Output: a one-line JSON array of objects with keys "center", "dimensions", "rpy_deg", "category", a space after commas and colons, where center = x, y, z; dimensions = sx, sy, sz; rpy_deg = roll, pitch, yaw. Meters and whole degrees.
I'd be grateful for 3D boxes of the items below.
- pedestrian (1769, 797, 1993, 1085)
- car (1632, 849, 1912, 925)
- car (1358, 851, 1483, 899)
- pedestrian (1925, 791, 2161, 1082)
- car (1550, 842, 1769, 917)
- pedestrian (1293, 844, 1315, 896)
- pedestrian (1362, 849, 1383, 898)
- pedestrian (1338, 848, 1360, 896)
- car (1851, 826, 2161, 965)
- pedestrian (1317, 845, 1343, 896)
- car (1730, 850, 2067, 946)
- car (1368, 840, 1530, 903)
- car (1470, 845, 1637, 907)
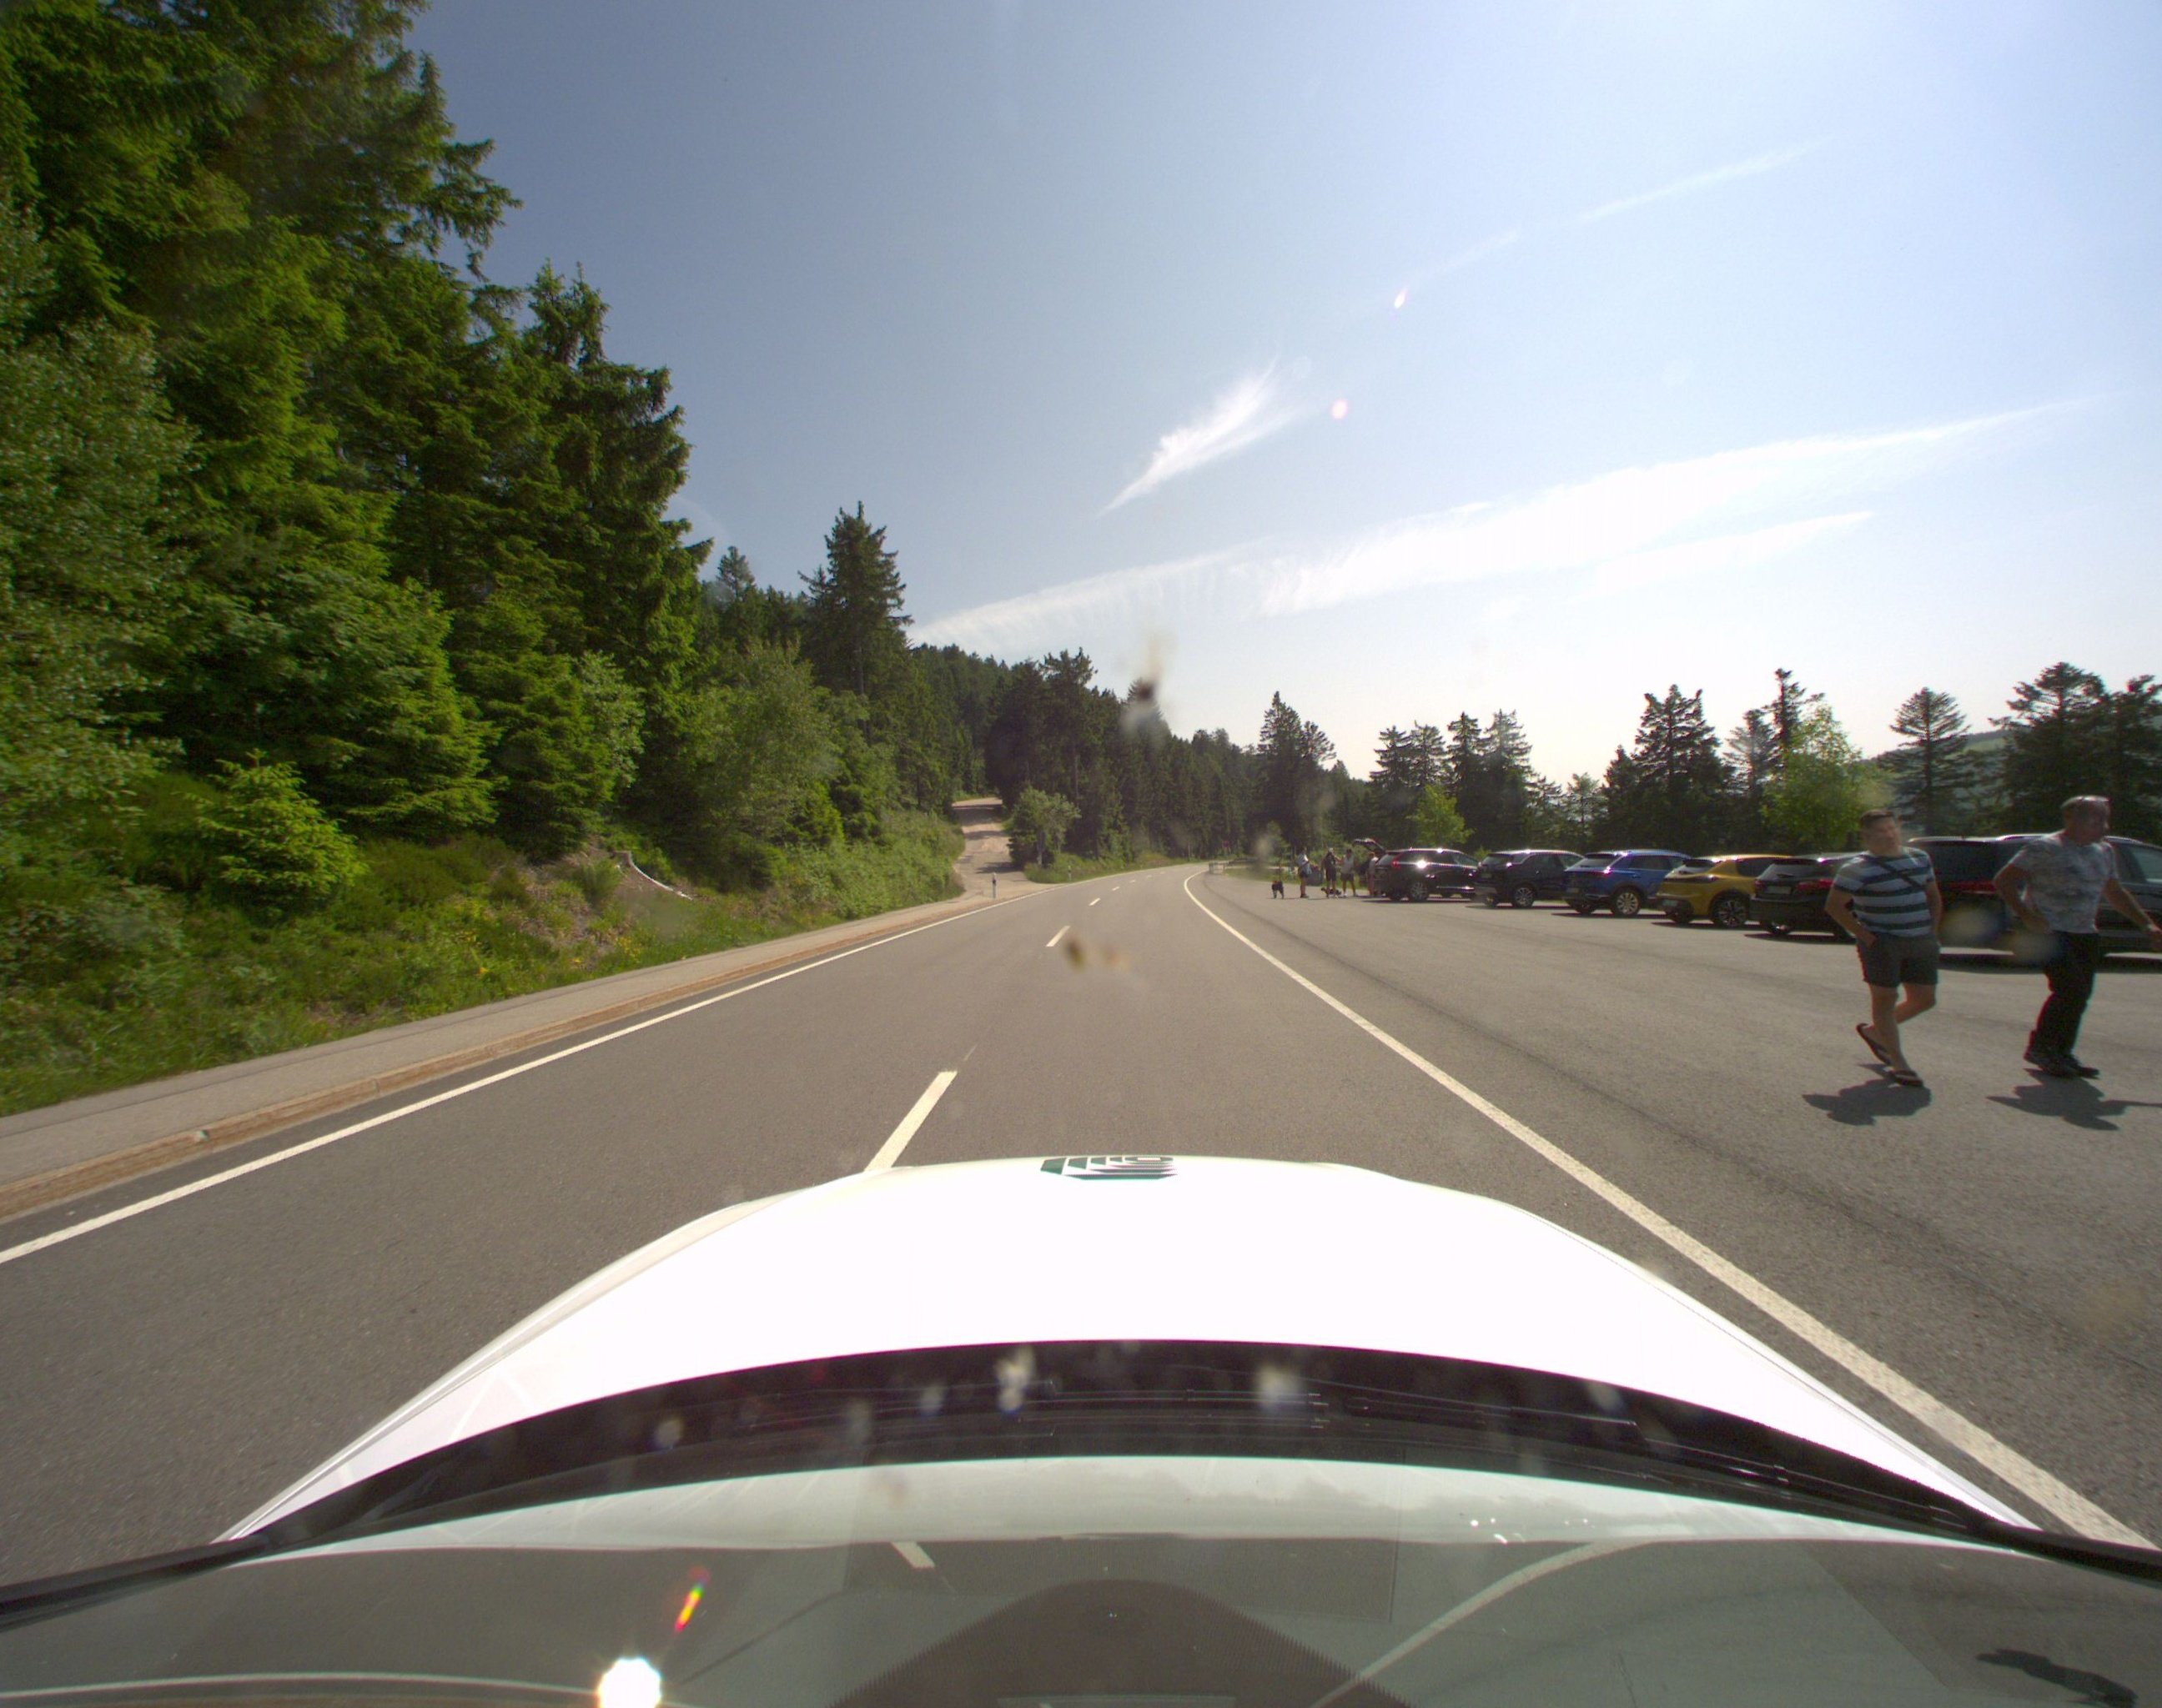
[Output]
[{"center": [5.289, 0.537, 5.451], "dimensions": [0.748, 1.760, 0.778], "rpy_deg": [-2, 0, 15], "category": "pedestrian"}, {"center": [13.756, 0.624, 16.413], "dimensions": [3.974, 1.352, 1.987], "rpy_deg": [-1, 0, 0], "category": "car"}, {"center": [12.056, 0.729, 29.018], "dimensions": [3.808, 1.661, 1.651], "rpy_deg": [0, 0, -4], "category": "car"}, {"center": [6.317, 0.495, 5.356], "dimensions": [0.660, 1.741, 0.898], "rpy_deg": [-2, 0, 15], "category": "pedestrian"}, {"center": [13.599, 0.557, 19.303], "dimensions": [3.977, 1.535, 1.806], "rpy_deg": [-1, 3, -3], "category": "car"}, {"center": [7.655, 0.548, 27.970], "dimensions": [0.613, 1.775, 0.725], "rpy_deg": [-1, 0, 8], "category": "pedestrian"}, {"center": [9.989, 0.661, 27.870], "dimensions": [0.611, 1.587, 0.739], "rpy_deg": [-2, 1, 21], "category": "pedestrian"}, {"center": [9.630, 0.633, 29.283], "dimensions": [0.648, 1.660, 0.690], "rpy_deg": [-2, 1, 14], "category": "pedestrian"}, {"center": [12.726, 0.518, 10.641], "dimensions": [3.977, 1.647, 1.599], "rpy_deg": [1, 0, -3], "category": "car"}, {"center": [8.458, 0.558, 27.681], "dimensions": [0.712, 1.692, 0.620], "rpy_deg": [-1, 0, 8], "category": "pedestrian"}, {"center": [13.656, 0.699, 13.783], "dimensions": [3.984, 1.436, 1.763], "rpy_deg": [1, 0, -1], "category": "car"}, {"center": [11.505, 0.515, 25.647], "dimensions": [4.252, 1.793, 1.891], "rpy_deg": [-1, 2, -2], "category": "car"}, {"center": [12.957, 0.575, 22.443], "dimensions": [3.745, 1.567, 1.597], "rpy_deg": [-1, 0, -5], "category": "car"}]
